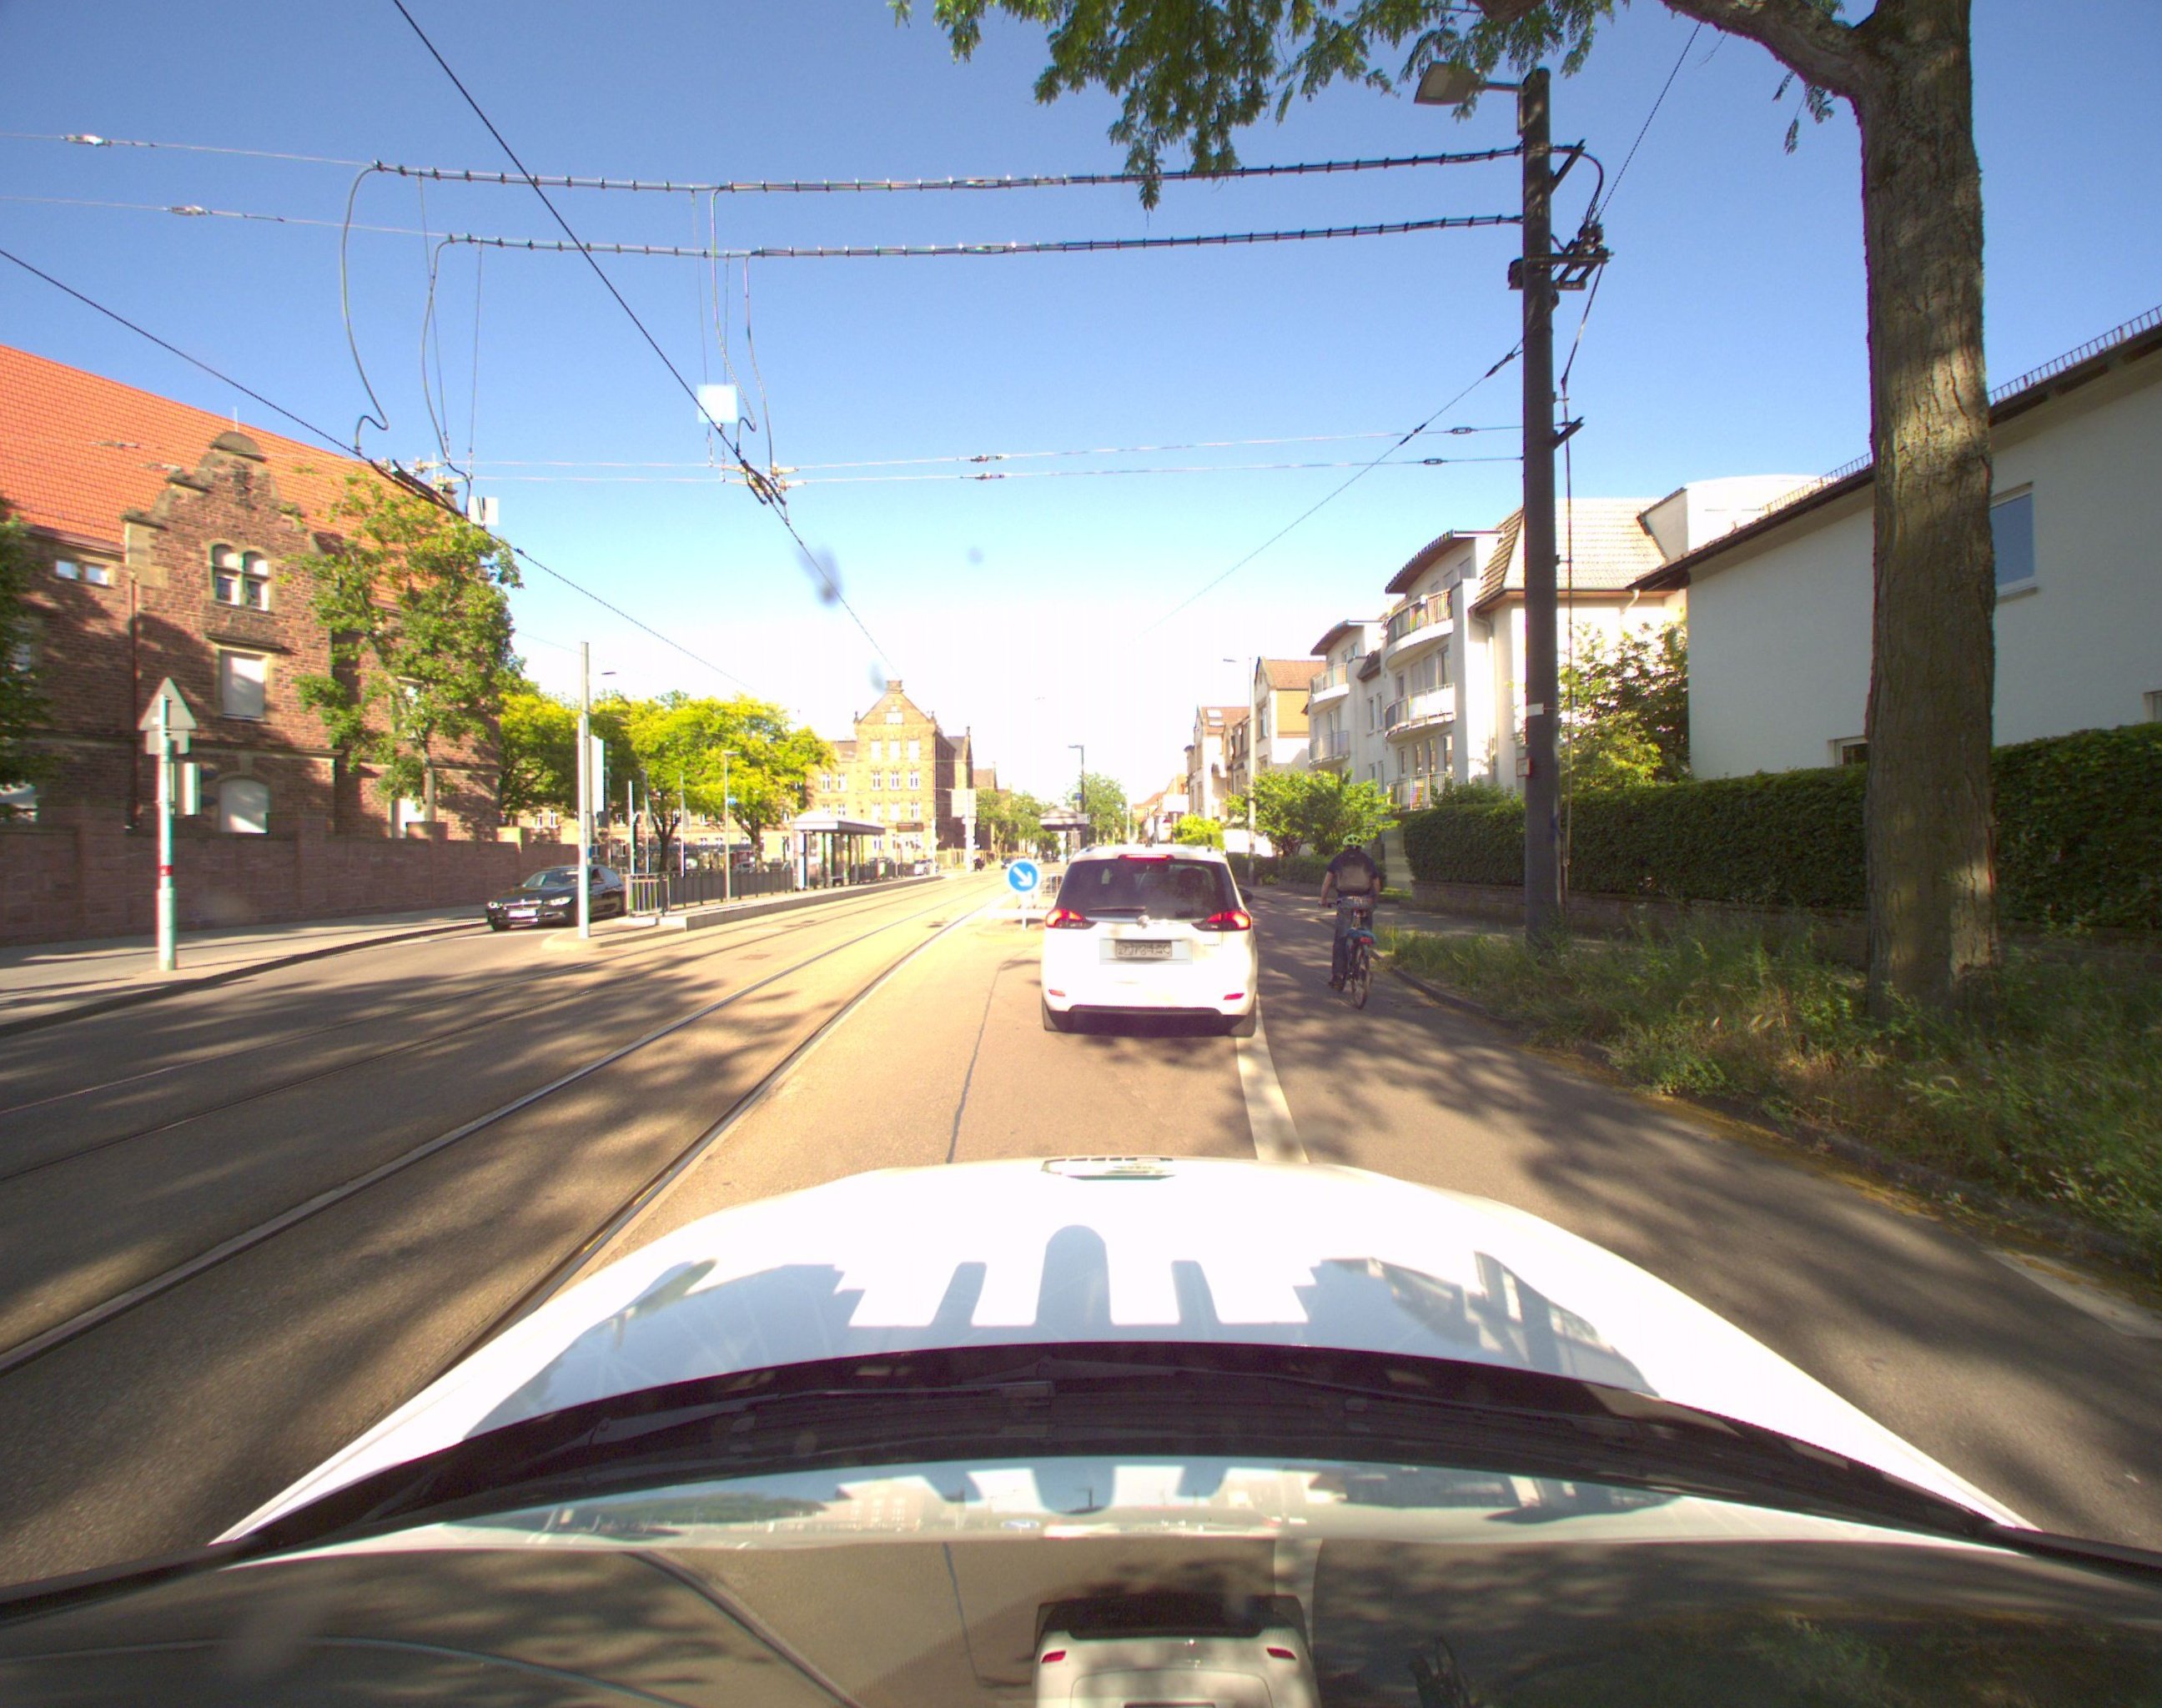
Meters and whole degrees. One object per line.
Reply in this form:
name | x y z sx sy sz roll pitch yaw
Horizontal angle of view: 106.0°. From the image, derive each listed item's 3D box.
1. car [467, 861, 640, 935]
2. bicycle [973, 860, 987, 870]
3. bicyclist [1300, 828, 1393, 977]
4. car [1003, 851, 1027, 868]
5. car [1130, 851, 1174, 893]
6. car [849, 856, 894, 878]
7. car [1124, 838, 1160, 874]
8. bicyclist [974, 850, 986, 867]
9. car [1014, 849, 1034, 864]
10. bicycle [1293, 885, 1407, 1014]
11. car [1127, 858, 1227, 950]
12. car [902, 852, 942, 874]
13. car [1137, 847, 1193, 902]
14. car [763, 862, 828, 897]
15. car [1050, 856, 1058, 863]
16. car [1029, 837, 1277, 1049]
car | -12.517 0.955 19.707 1.798 1.382 4.480 -4 1 -10
bicycle | -10.238 1.121 82.765 0.720 0.965 2.068 -1 0 14
bicyclist | 2.815 0.493 8.734 0.641 1.488 1.115 0 -1 2
car | -7.991 0.621 99.254 1.982 2.014 4.009 -1 -1 8
car | 2.871 0.702 33.718 1.590 1.635 3.903 1 0 2
car | -14.286 0.888 55.756 1.820 1.446 4.329 -1 -1 2
car | 2.969 0.093 40.284 1.590 1.635 3.903 1 0 2
bicyclist | -10.257 0.459 82.764 0.720 1.688 1.174 -1 0 14
car | -8.001 0.316 114.485 1.982 2.014 4.009 -1 -1 8
bicycle | 2.822 0.956 8.750 0.640 1.143 1.902 -1 0 2
car | 1.771 0.804 14.861 1.560 1.401 3.792 1 0 7
car | -13.324 0.776 68.598 1.815 1.788 4.339 -1 -1 10
car | 2.616 0.594 26.034 1.563 1.614 3.786 1 0 2
car | -14.091 1.220 40.507 1.822 1.617 4.324 -1 -1 -2
car | -7.422 1.475 225.314 1.989 2.014 3.994 0 -1 -4
car | 0.792 0.668 8.181 1.868 1.585 4.008 -1 0 7
